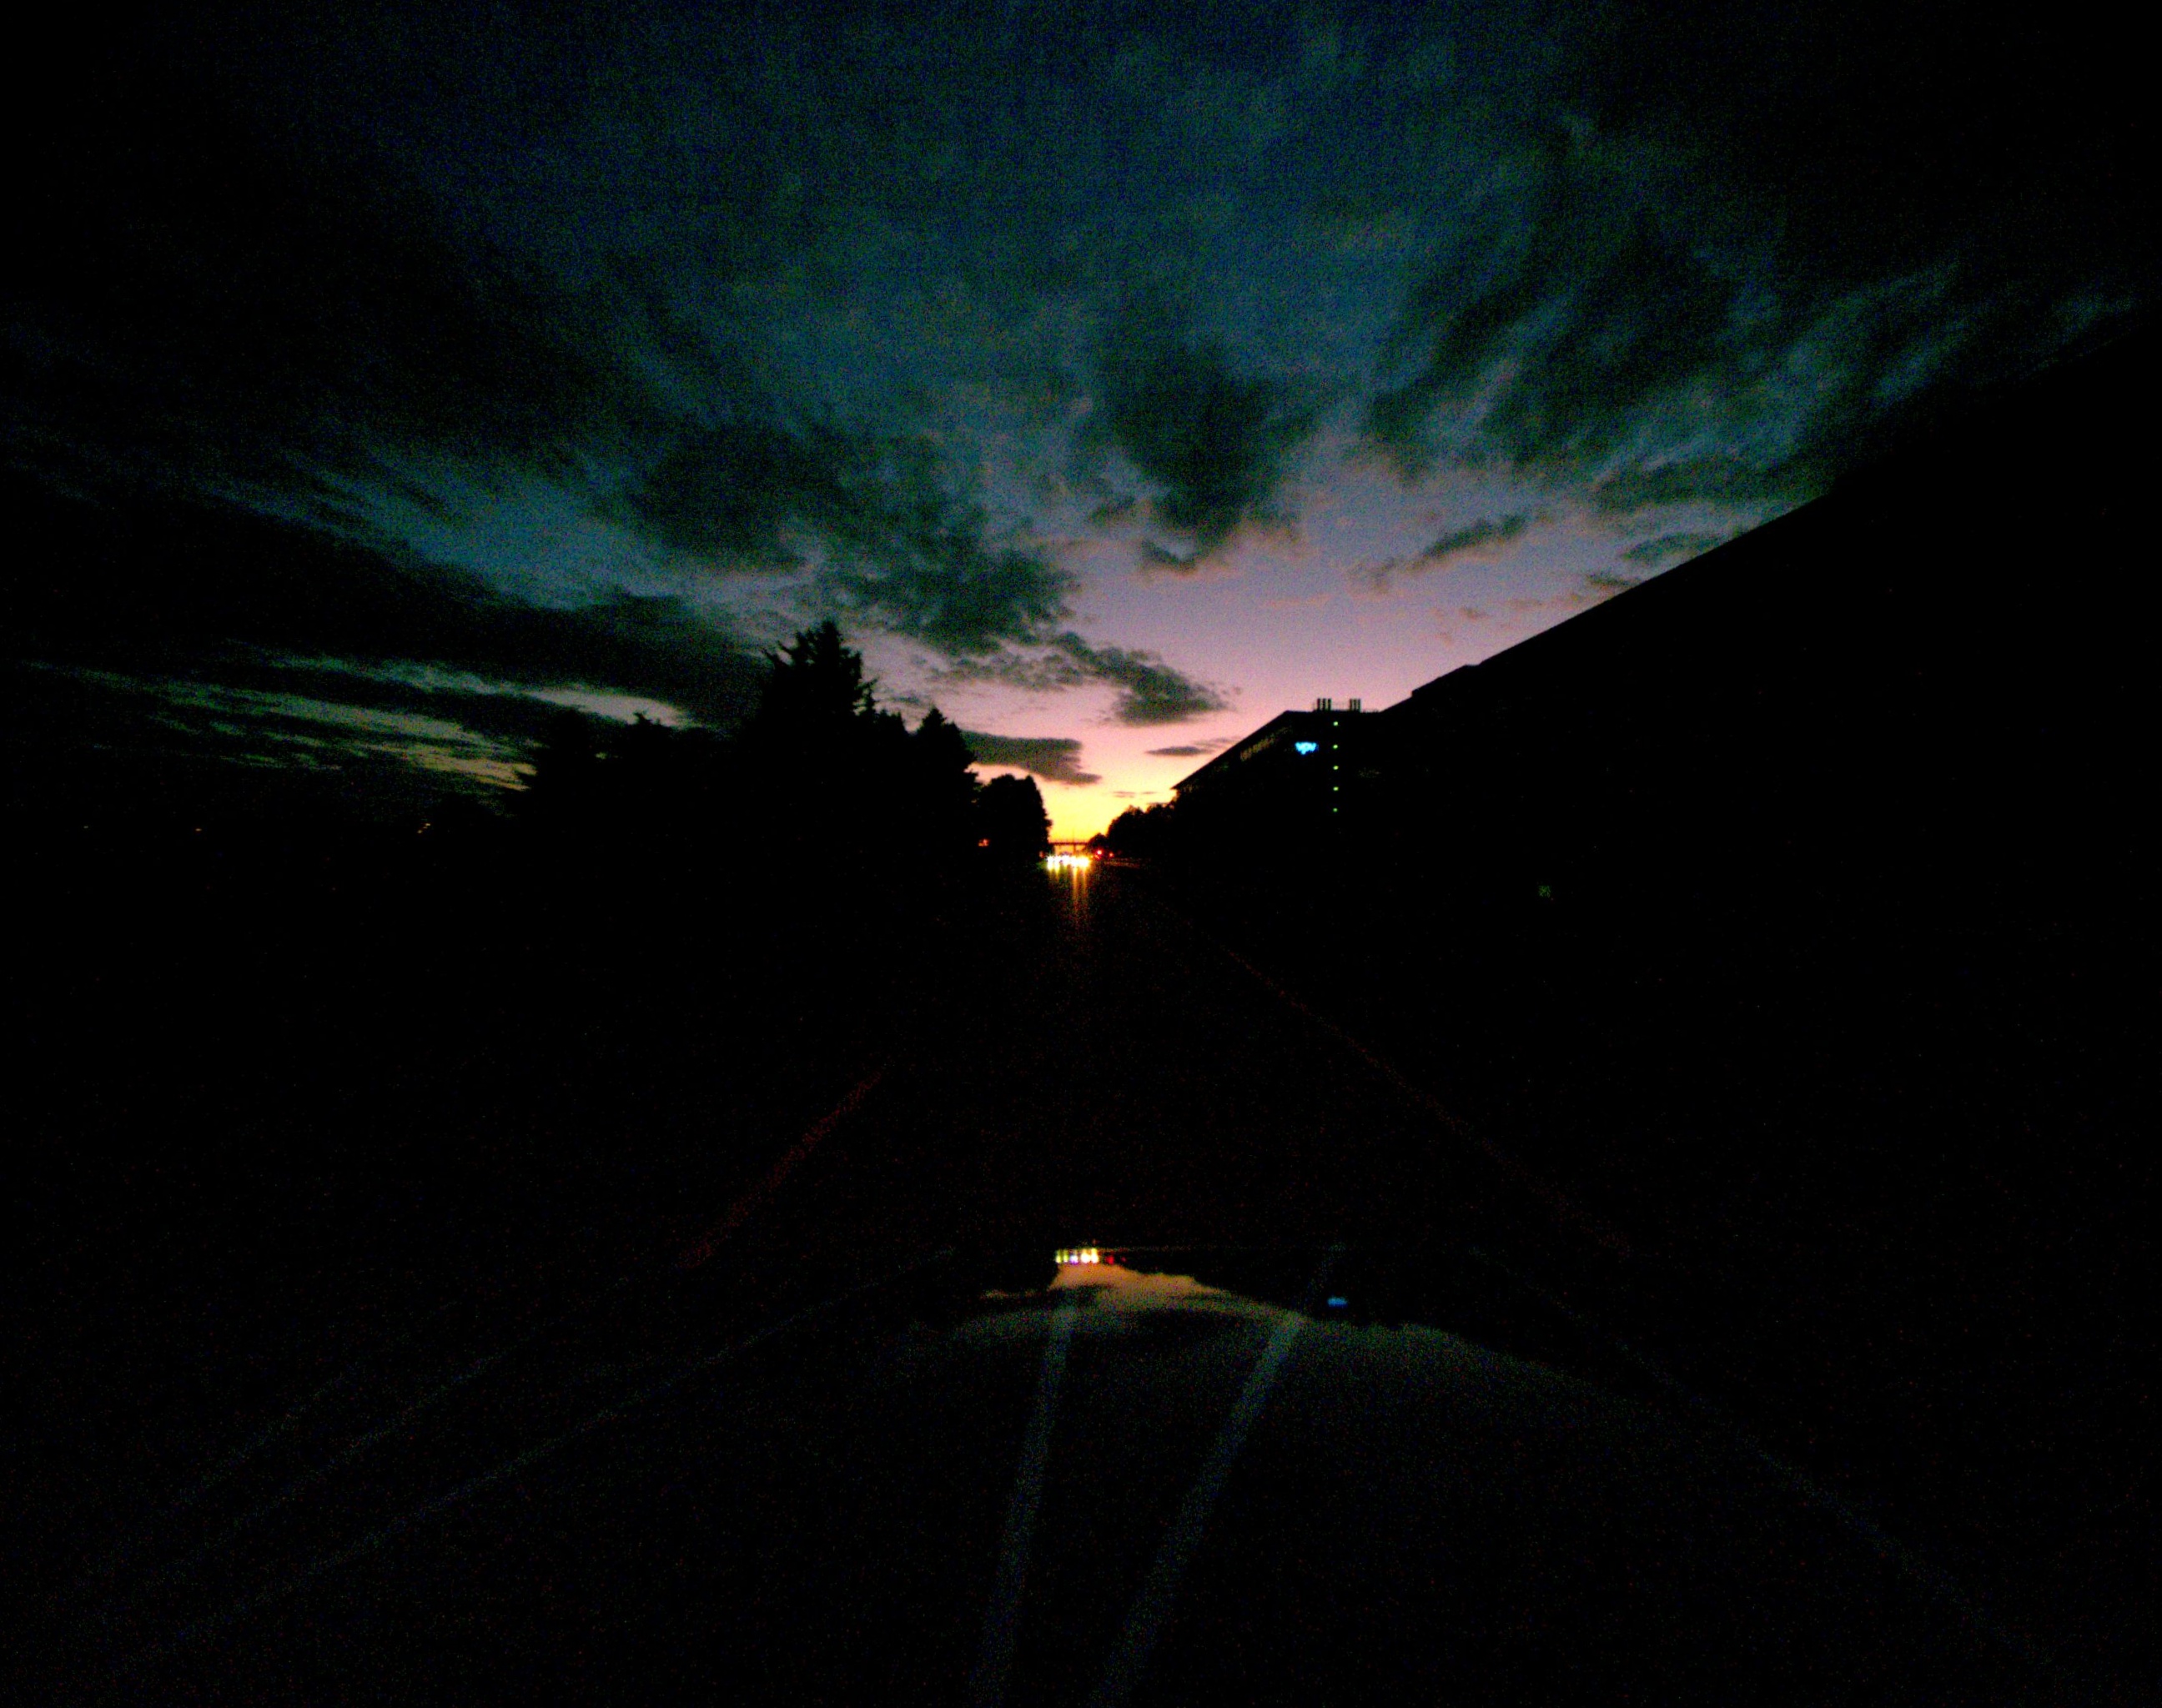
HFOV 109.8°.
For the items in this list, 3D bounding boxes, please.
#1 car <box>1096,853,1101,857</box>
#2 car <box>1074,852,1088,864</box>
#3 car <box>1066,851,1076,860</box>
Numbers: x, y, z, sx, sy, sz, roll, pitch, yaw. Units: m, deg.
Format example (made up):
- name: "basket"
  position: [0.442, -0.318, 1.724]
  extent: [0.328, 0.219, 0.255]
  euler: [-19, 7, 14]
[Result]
- name: "car"
  position: [5.900, 0.230, 257.263]
  extent: [1.693, 1.372, 3.571]
  euler: [0, 0, -2]
- name: "car"
  position: [-0.003, 0.535, 97.058]
  extent: [1.756, 1.447, 3.803]
  euler: [-1, 1, 0]
- name: "car"
  position: [-2.283, 0.414, 177.016]
  extent: [1.861, 2.002, 4.002]
  euler: [-3, 0, 6]
